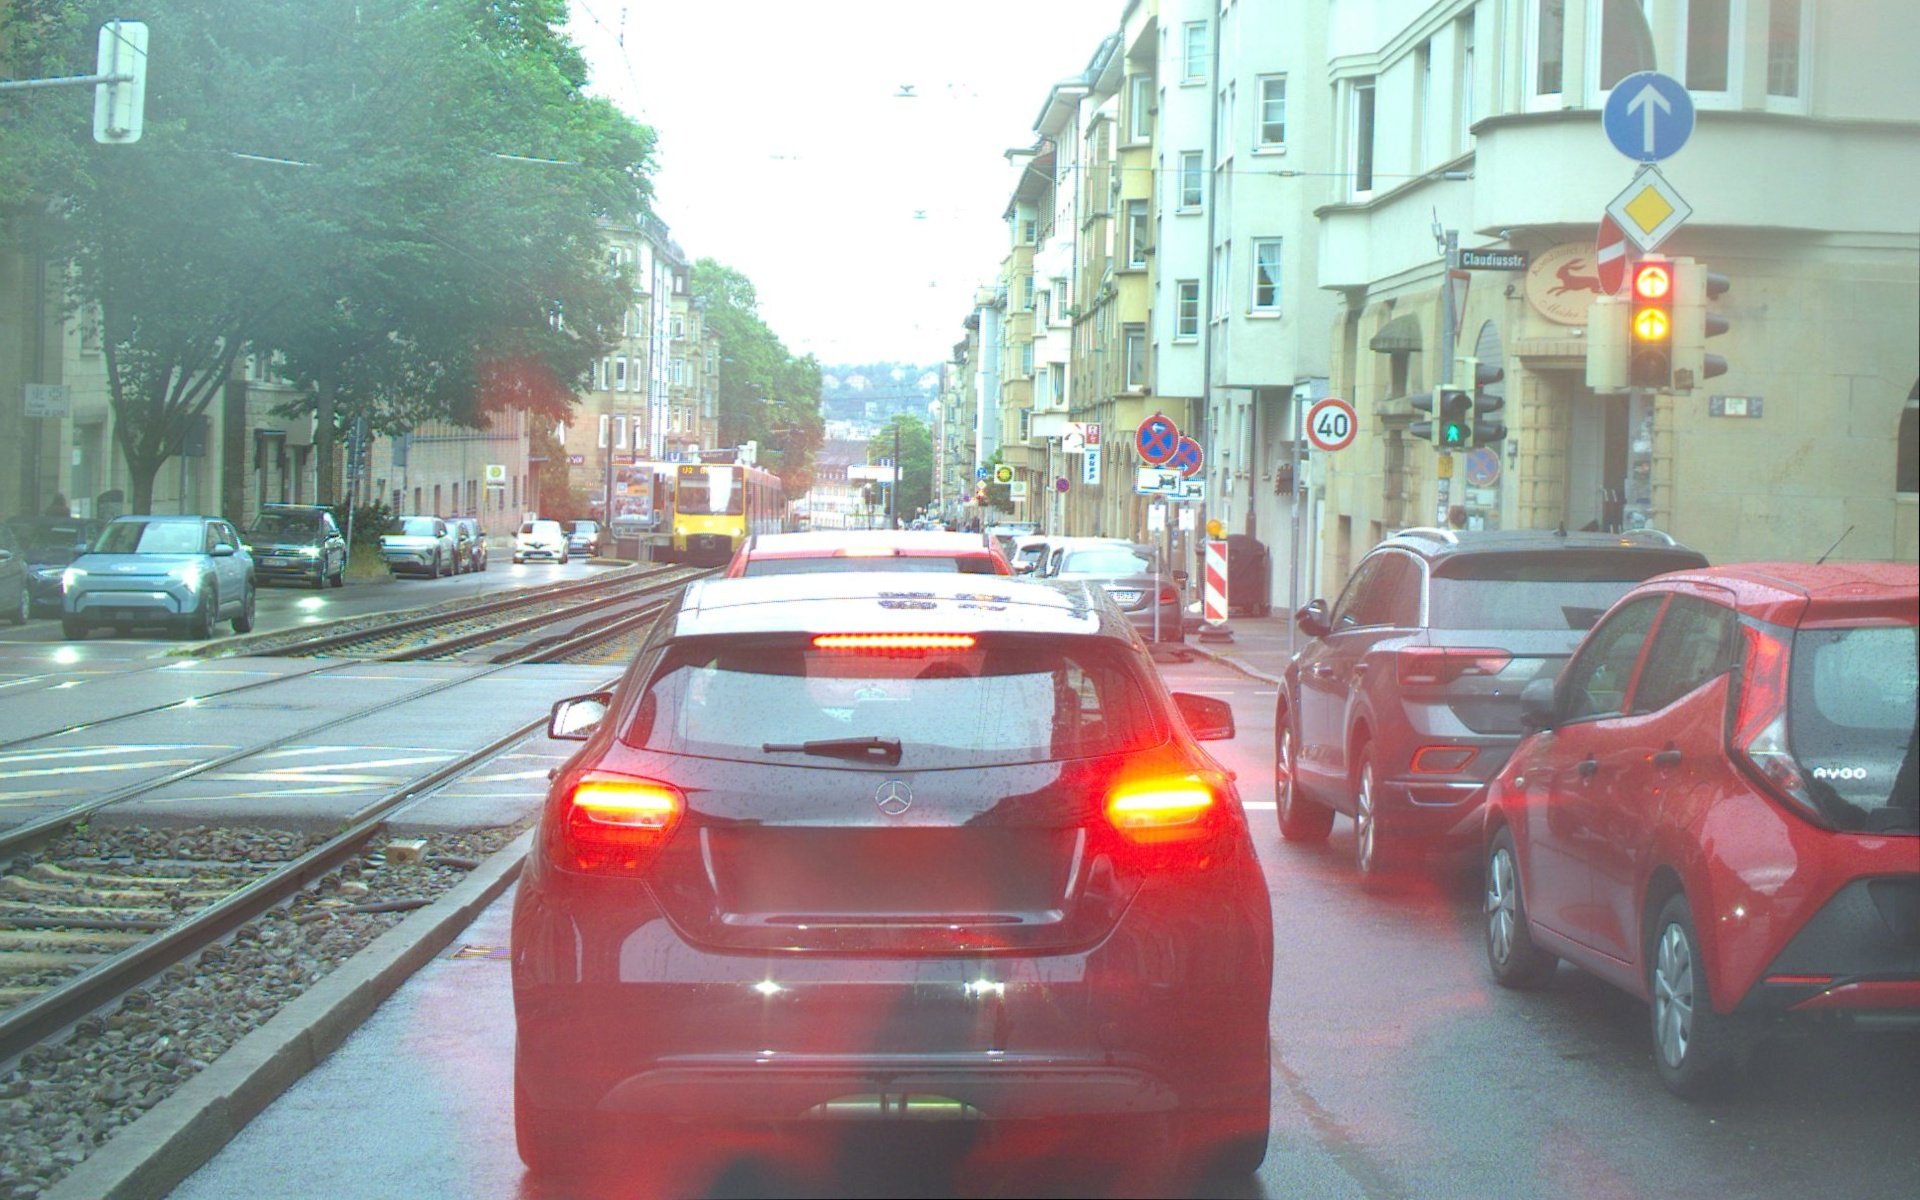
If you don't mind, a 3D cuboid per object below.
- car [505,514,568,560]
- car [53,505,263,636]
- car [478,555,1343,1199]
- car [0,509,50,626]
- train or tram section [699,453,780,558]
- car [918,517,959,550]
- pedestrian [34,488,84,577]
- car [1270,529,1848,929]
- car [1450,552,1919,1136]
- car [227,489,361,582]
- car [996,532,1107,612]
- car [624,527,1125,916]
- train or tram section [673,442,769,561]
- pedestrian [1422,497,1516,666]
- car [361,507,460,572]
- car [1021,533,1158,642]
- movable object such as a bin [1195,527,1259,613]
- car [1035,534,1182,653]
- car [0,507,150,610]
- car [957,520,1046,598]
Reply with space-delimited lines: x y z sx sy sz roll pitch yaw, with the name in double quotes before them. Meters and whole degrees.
"car" -14.436 -2.139 117.240 1.780 1.497 4.063 1 1 -2
"car" -10.433 -0.389 44.997 1.921 1.612 4.129 1 1 -2
"car" -0.130 0.627 9.337 1.834 1.448 3.902 1 1 -1
"car" -13.423 -0.442 45.682 1.689 1.524 4.176 1 1 -2
"train or tram section" -9.030 -3.888 142.202 2.745 4.048 15.663 1 1 -2
"car" -1.031 -3.248 167.380 1.887 1.520 4.245 2 1 1
"pedestrian" -17.062 -1.273 65.108 0.728 1.657 0.771 2 1 -1
"car" 2.580 0.483 15.773 1.867 1.543 3.991 2 1 -1
"car" 2.714 0.614 10.501 1.705 1.448 3.533 2 1 -3
"car" -13.929 -1.379 72.114 1.953 1.736 4.780 4 1 -2
"car" 1.607 -0.508 61.894 1.789 1.381 4.395 1 1 -1
"car" -0.373 0.457 16.119 1.993 1.520 4.246 2 1 -1
"train or tram section" -8.627 -3.572 125.944 2.745 4.048 17.216 1 1 -2
"pedestrian" 5.166 -0.189 34.941 0.804 1.681 0.754 1 0 -1
"car" -14.264 -1.592 89.447 1.961 1.600 4.329 2 2 -2
"car" 1.799 -0.194 48.977 1.712 1.463 4.774 1 1 -1
"movable object such as a bin" 4.637 -0.519 59.805 0.980 1.463 1.273 1 0 -1
"car" 1.834 -0.097 43.610 1.711 1.405 4.817 1 1 1
"car" -13.467 -0.616 51.237 1.780 1.455 4.979 1 1 -2
"car" 0.916 -0.876 74.360 1.841 1.602 4.760 1 1 1
